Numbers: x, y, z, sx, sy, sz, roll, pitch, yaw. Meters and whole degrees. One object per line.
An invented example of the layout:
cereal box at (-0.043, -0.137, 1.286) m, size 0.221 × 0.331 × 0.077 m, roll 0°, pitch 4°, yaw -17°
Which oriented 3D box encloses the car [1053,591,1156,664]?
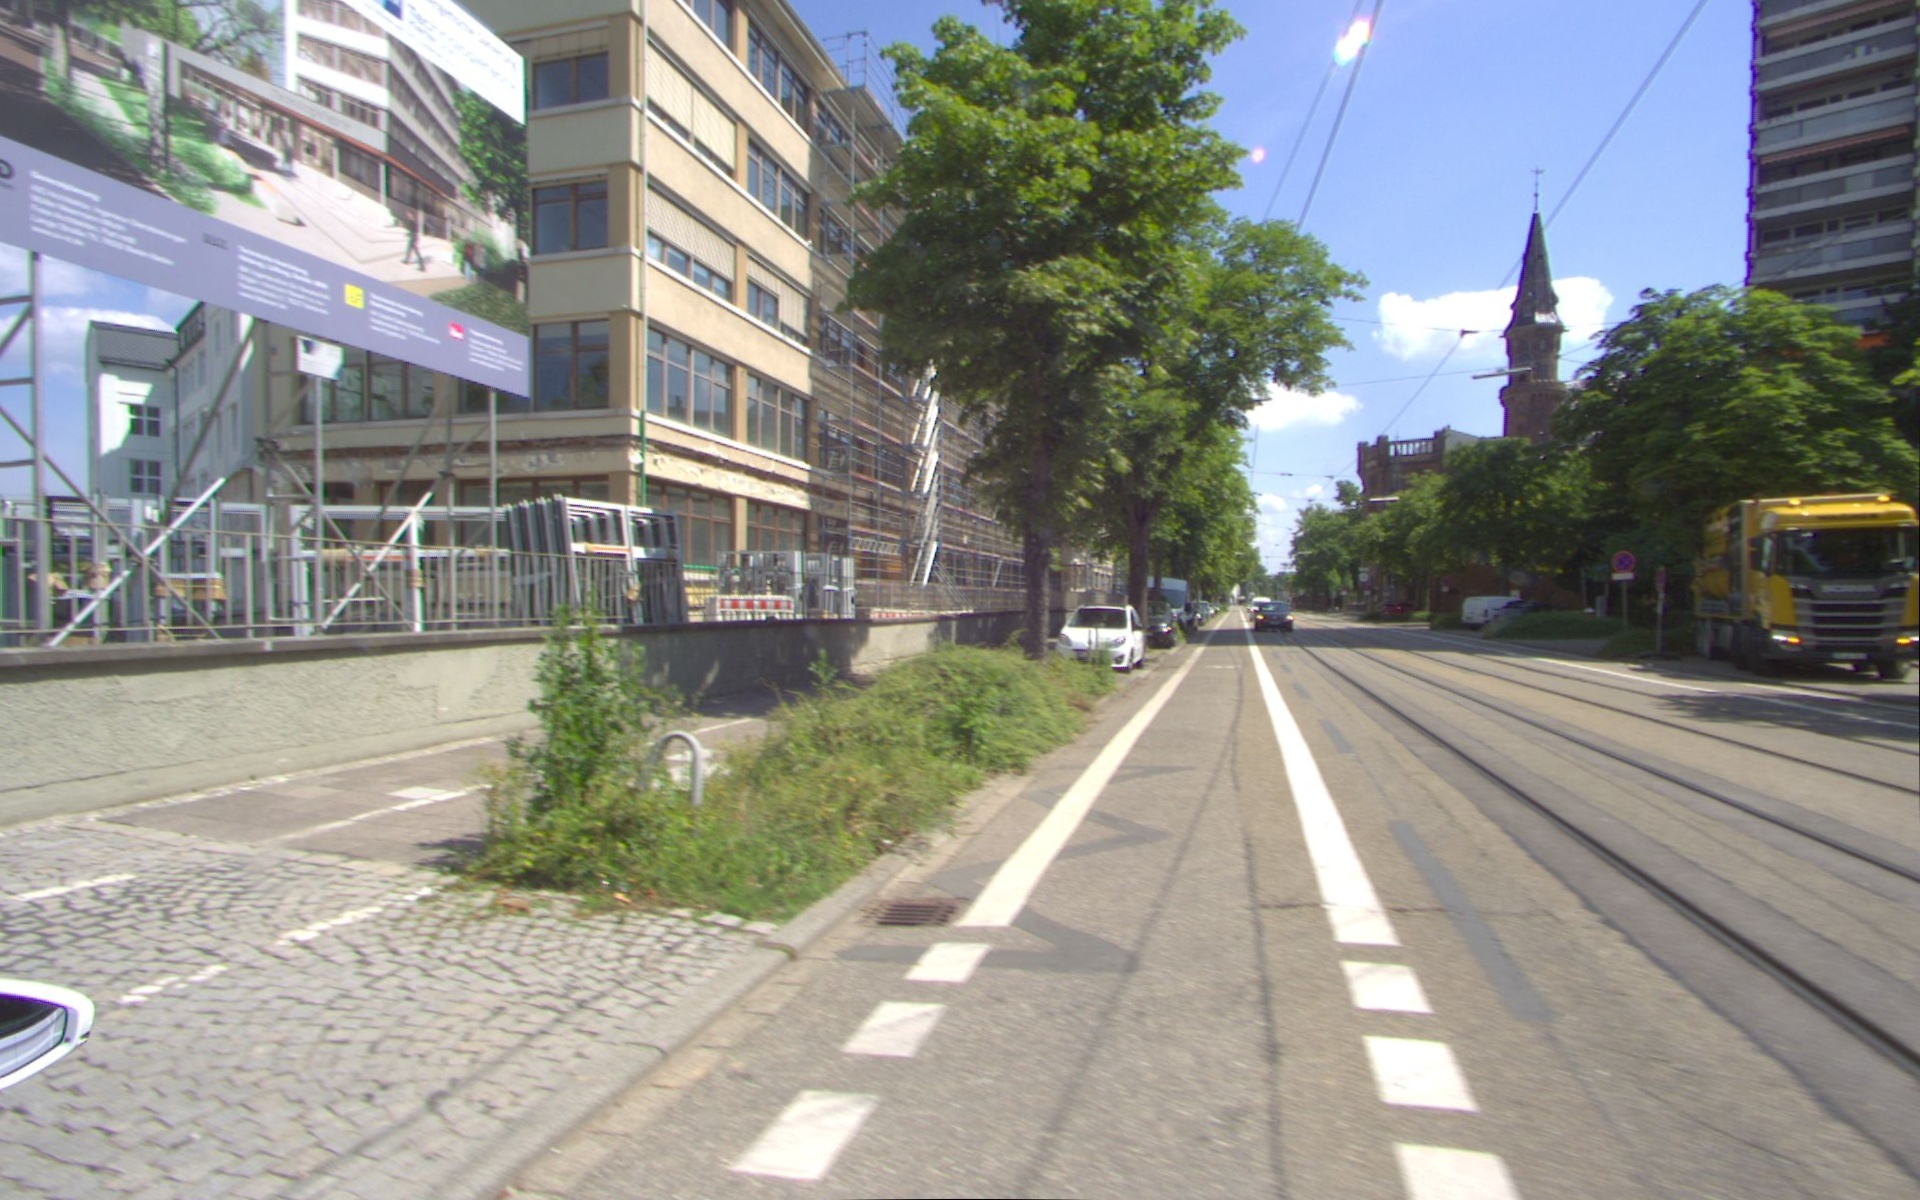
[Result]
car at (3.293, 0.549, 22.302) m, size 1.594 × 1.459 × 3.575 m, roll 1°, pitch 1°, yaw 19°

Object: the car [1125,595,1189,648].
car at (6.702, 0.668, 33.957) m, size 1.962 × 1.628 × 3.996 m, roll 2°, pitch 1°, yaw 12°

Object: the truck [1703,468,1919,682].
truck at (19.866, -0.484, 23.738) m, size 2.711 × 4.059 × 9.693 m, roll 1°, pitch 1°, yaw 32°

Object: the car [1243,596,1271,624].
car at (22.722, 0.757, 76.696) m, size 1.964 × 2.041 × 3.993 m, roll 1°, pitch 1°, yaw 17°

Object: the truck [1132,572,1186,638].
truck at (8.284, 0.166, 41.377) m, size 1.988 × 2.519 × 5.866 m, roll 1°, pitch 1°, yaw 13°

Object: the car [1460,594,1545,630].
car at (28.467, 0.609, 52.536) m, size 3.934 × 1.818 × 1.829 m, roll 1°, pitch 1°, yaw -22°

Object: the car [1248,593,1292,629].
car at (15.391, 0.526, 49.818) m, size 1.963 × 1.711 × 3.994 m, roll 0°, pitch 0°, yaw 16°

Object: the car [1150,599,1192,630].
car at (10.667, 0.702, 50.900) m, size 1.962 × 1.475 × 3.997 m, roll 1°, pitch 1°, yaw 11°

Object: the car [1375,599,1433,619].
car at (37.126, 0.752, 83.833) m, size 3.923 × 1.506 × 1.999 m, roll 1°, pitch 1°, yaw -6°

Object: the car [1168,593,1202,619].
car at (13.632, 0.337, 60.759) m, size 1.962 × 1.506 × 3.996 m, roll 1°, pitch 1°, yaw 12°
